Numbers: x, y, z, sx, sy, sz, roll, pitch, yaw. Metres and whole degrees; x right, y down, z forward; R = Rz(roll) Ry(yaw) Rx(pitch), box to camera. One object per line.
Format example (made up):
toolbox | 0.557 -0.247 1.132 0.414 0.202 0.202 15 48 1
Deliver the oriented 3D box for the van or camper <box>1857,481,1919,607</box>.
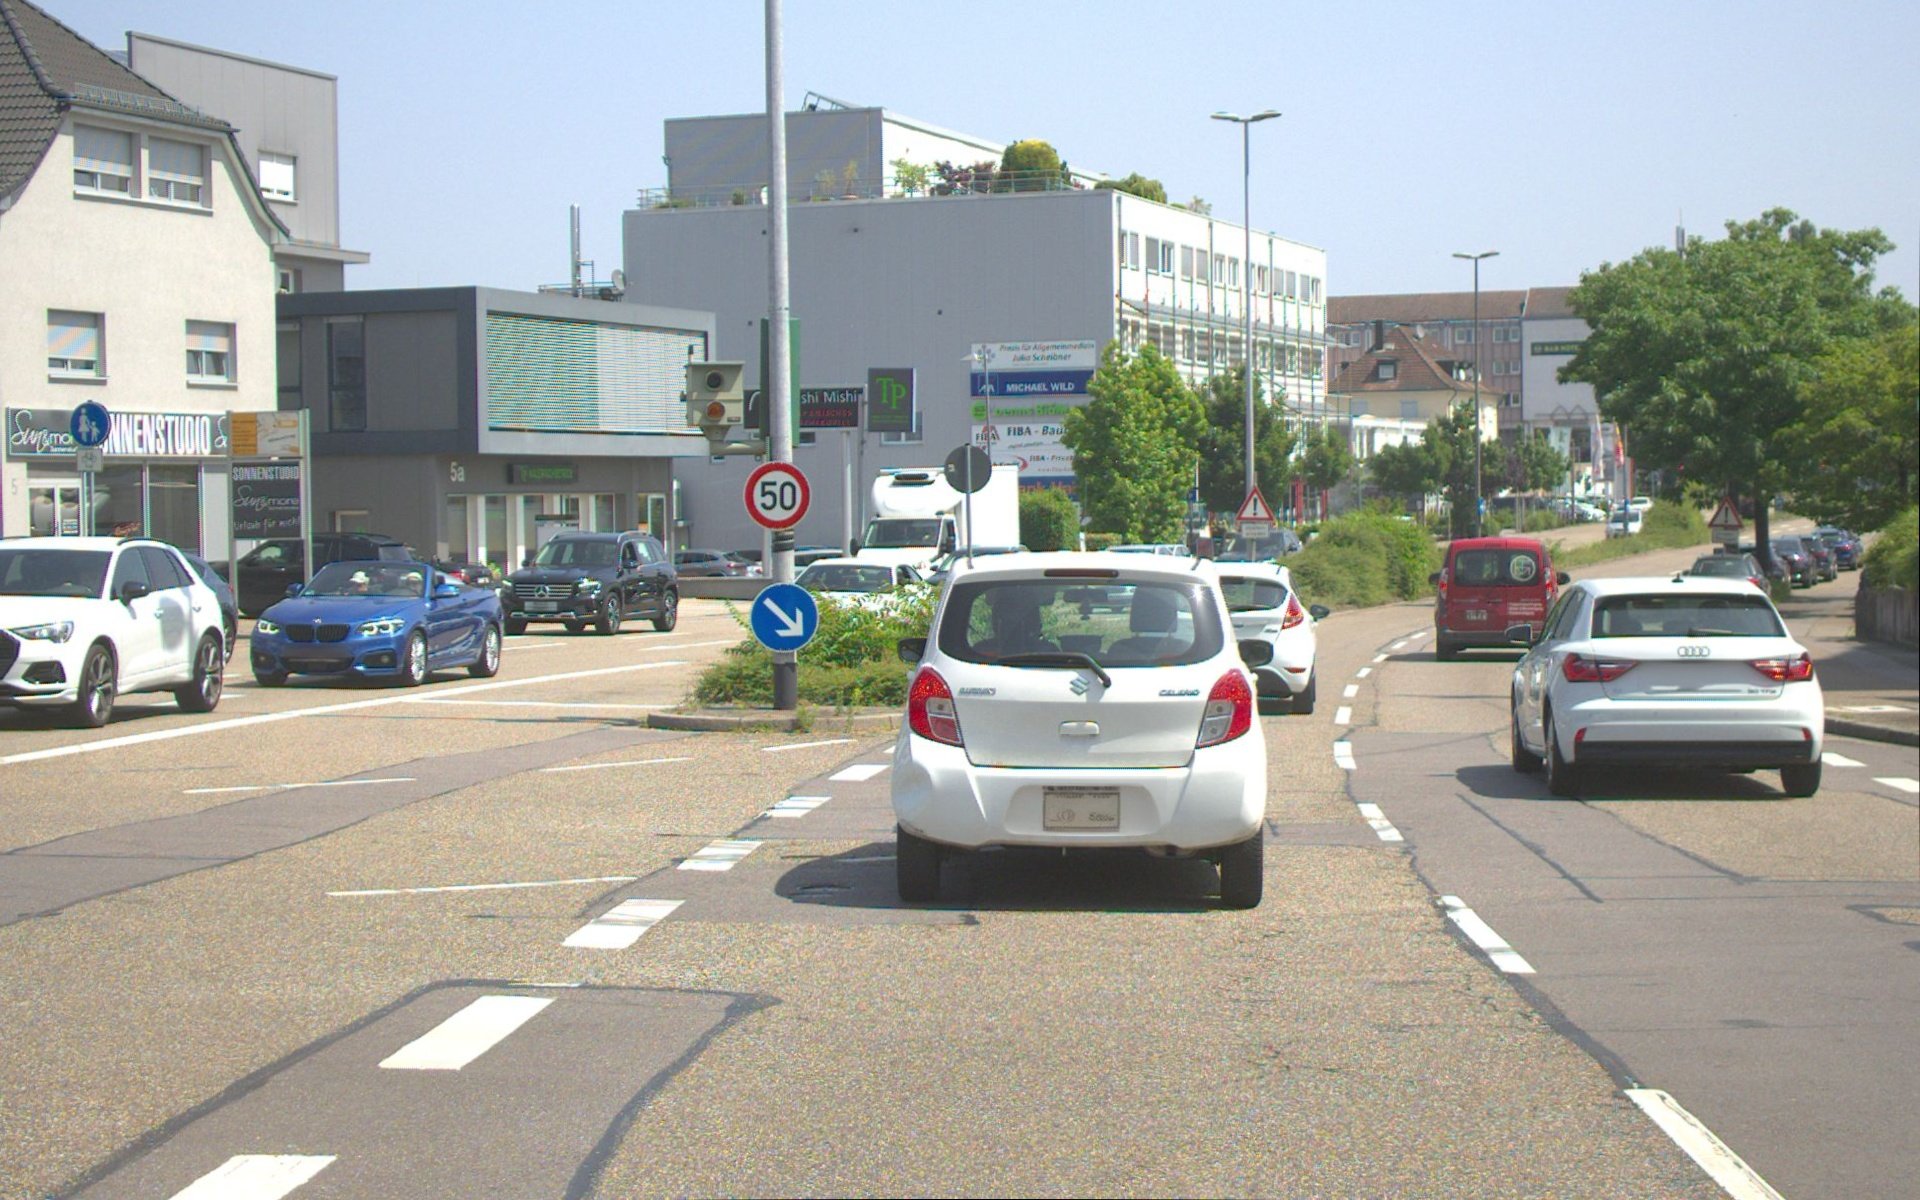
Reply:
van or camper | 24.345 -1.360 79.542 6.802 2.888 2.274 -1 2 18

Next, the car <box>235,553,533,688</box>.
car | -6.242 0.188 37.761 1.864 1.361 4.345 1 1 10

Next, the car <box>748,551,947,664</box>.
car | -1.453 0.061 46.489 1.863 1.426 4.743 1 1 8

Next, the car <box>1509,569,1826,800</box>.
car | 4.681 0.502 23.182 1.667 1.394 3.792 0 1 5

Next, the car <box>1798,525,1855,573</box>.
car | 29.627 -1.764 117.532 1.714 1.543 4.787 -1 1 16

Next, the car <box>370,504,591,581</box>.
car | -9.918 -1.192 71.241 4.059 1.516 1.999 -1 1 15

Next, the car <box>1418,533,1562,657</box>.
car | 7.751 -0.107 50.589 1.795 1.723 3.972 1 1 5

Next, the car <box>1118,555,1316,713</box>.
car | 2.516 0.288 34.308 1.830 1.445 4.000 1 1 3

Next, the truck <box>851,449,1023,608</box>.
truck | -0.444 -1.565 77.761 2.266 3.406 7.034 1 0 13

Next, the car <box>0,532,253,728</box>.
car | -7.809 0.197 29.943 1.817 1.565 4.554 1 1 8

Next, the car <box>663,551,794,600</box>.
car | -7.943 -0.845 117.974 3.977 1.462 2.071 -2 1 16

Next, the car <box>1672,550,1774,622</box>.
car | 16.135 -0.319 72.573 1.799 1.401 4.317 1 1 16

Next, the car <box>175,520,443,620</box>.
car | -12.339 -0.583 65.219 4.610 1.621 1.852 3 2 18

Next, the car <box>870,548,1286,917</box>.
car | 0.531 0.539 15.986 1.712 1.505 3.247 1 0 1

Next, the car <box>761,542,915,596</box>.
car | -3.360 -0.843 94.850 3.989 1.454 1.574 0 0 13

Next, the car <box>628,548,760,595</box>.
car | -8.861 -0.948 114.740 3.974 1.462 1.963 -1 2 13

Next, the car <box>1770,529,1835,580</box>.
car | 26.150 -1.425 106.651 1.856 1.476 5.153 0 2 15

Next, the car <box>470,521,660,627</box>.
car | -6.408 -0.455 56.277 1.994 1.650 4.592 0 1 8
